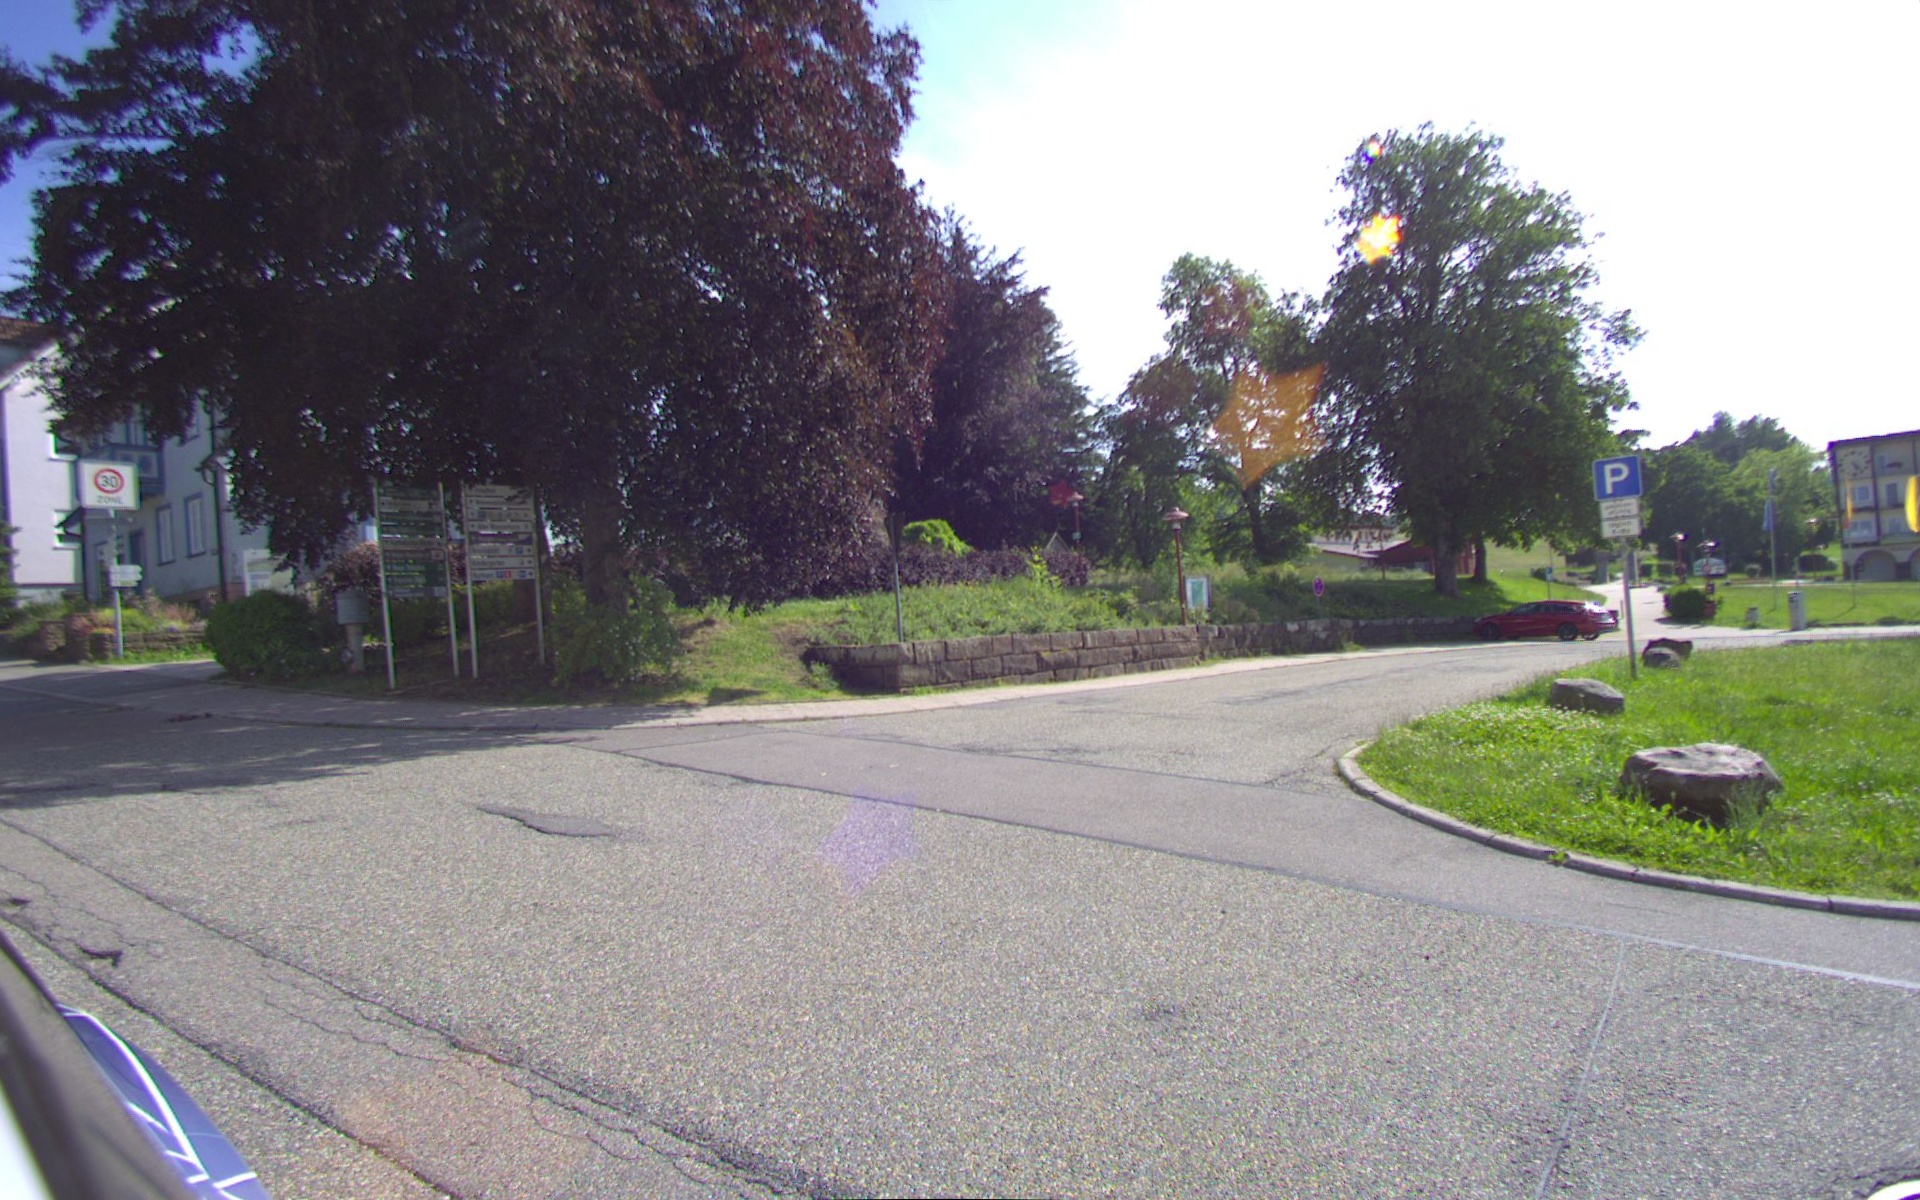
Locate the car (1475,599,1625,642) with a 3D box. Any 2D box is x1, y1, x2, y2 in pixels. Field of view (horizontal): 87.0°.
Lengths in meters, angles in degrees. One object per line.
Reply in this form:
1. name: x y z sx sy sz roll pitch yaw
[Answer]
1. car: 20.980 0.726 36.145 1.793 1.409 4.250 -1 -1 -32
